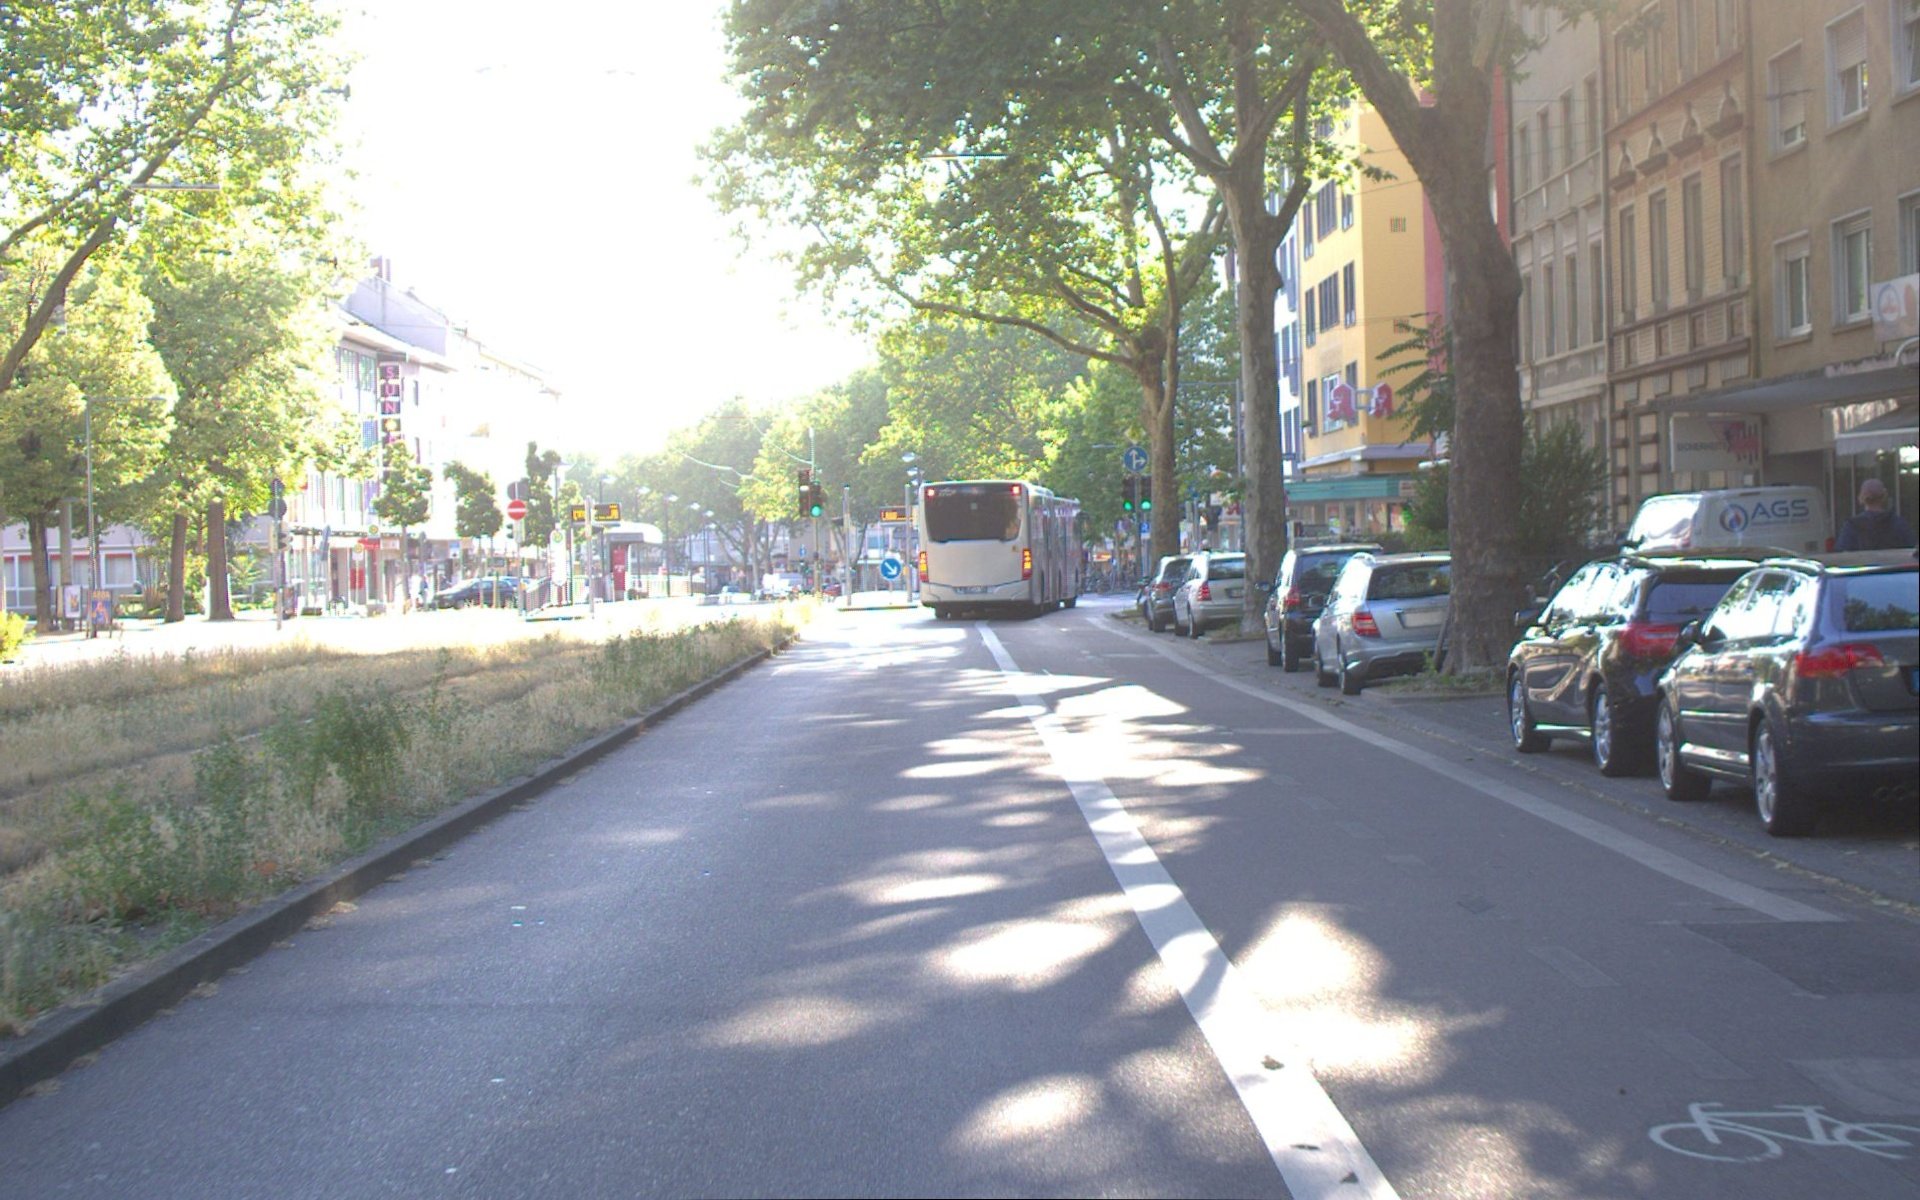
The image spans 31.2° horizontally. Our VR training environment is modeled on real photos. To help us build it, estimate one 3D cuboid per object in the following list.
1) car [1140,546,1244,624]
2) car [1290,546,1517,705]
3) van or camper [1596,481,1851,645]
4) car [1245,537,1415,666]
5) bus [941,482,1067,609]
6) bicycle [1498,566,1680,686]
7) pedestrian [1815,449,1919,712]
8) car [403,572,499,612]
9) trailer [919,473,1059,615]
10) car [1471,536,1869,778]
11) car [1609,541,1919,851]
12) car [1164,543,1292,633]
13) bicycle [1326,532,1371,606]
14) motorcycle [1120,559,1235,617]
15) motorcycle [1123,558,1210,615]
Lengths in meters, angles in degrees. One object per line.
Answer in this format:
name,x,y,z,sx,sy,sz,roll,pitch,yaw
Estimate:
car,4.393,-0.306,65.600,1.710,1.392,4.321,-1,1,1
car,4.671,0.217,36.784,1.694,1.537,4.777,-1,1,-1
van or camper,9.730,-0.490,44.283,1.942,1.916,5.392,-2,1,-1
car,4.745,-0.017,44.537,1.653,1.540,4.000,-2,1,-1
bus,1.233,-1.382,89.348,2.812,3.091,9.093,1,1,3
bicycle,6.126,0.237,33.607,0.769,1.127,2.082,1,1,-21
pedestrian,7.172,-0.160,26.853,0.682,2.007,1.012,-1,1,-1
car,-23.910,-0.379,161.530,3.986,1.809,2.000,-2,1,-26
trailer,0.767,-1.271,80.399,2.812,3.100,8.793,1,1,3
car,4.742,0.328,23.582,1.708,1.410,4.364,-3,1,-1
car,4.853,0.426,18.692,1.708,1.410,4.364,-3,1,-1
car,4.585,-0.237,59.332,1.674,1.446,4.571,-1,1,-2
bicycle,7.605,-0.602,67.421,0.607,1.422,2.396,1,1,1
motorcycle,4.490,-0.248,70.946,2.205,1.059,0.767,-4,2,-22
motorcycle,4.398,-0.295,73.123,1.993,1.148,0.601,-2,1,-42
